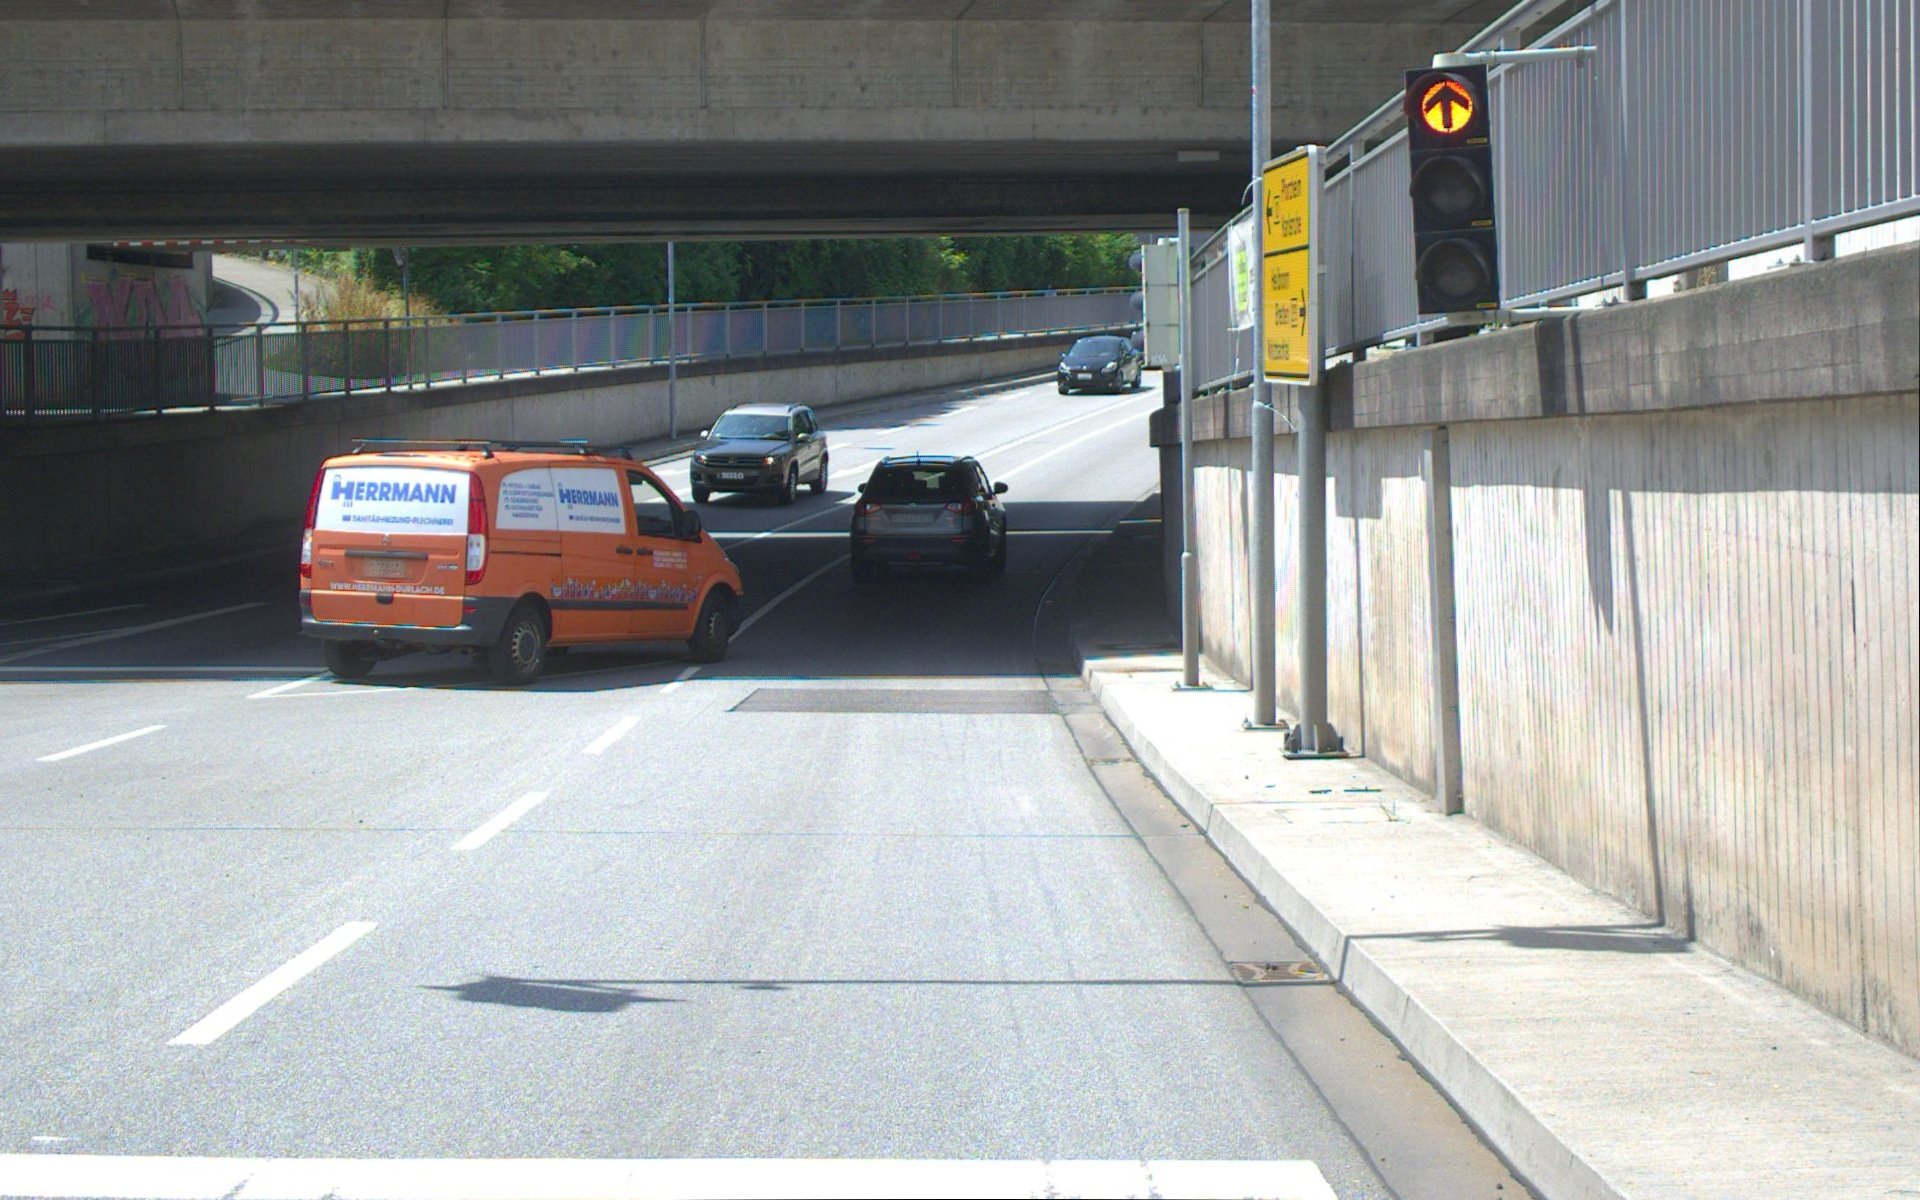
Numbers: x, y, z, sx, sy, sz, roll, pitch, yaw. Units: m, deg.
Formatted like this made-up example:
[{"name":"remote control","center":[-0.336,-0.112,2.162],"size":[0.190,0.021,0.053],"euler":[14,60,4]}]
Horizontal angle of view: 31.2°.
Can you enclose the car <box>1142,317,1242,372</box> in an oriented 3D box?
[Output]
[{"name":"car","center":[7.075,-7.749,104.390],"size":[1.995,1.583,3.997],"euler":[2,3,20]}]

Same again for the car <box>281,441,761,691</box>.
[{"name":"car","center":[-3.697,-0.386,29.861],"size":[1.875,1.925,4.713],"euler":[2,4,26]}]

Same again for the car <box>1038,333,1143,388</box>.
[{"name":"car","center":[3.578,-6.521,93.631],"size":[1.784,1.431,3.997],"euler":[2,3,19]}]

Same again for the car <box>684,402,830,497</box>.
[{"name":"car","center":[-3.596,-2.731,61.651],"size":[1.994,1.621,4.000],"euler":[1,3,6]}]

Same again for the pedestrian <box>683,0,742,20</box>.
[{"name":"pedestrian","center":[-2.409,-6.693,33.247],"size":[0.539,2.074,0.535],"euler":[-1,1,-7]}]

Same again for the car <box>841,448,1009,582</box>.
[{"name":"car","center":[-0.413,-1.154,45.081],"size":[1.804,1.612,4.000],"euler":[1,3,5]}]
